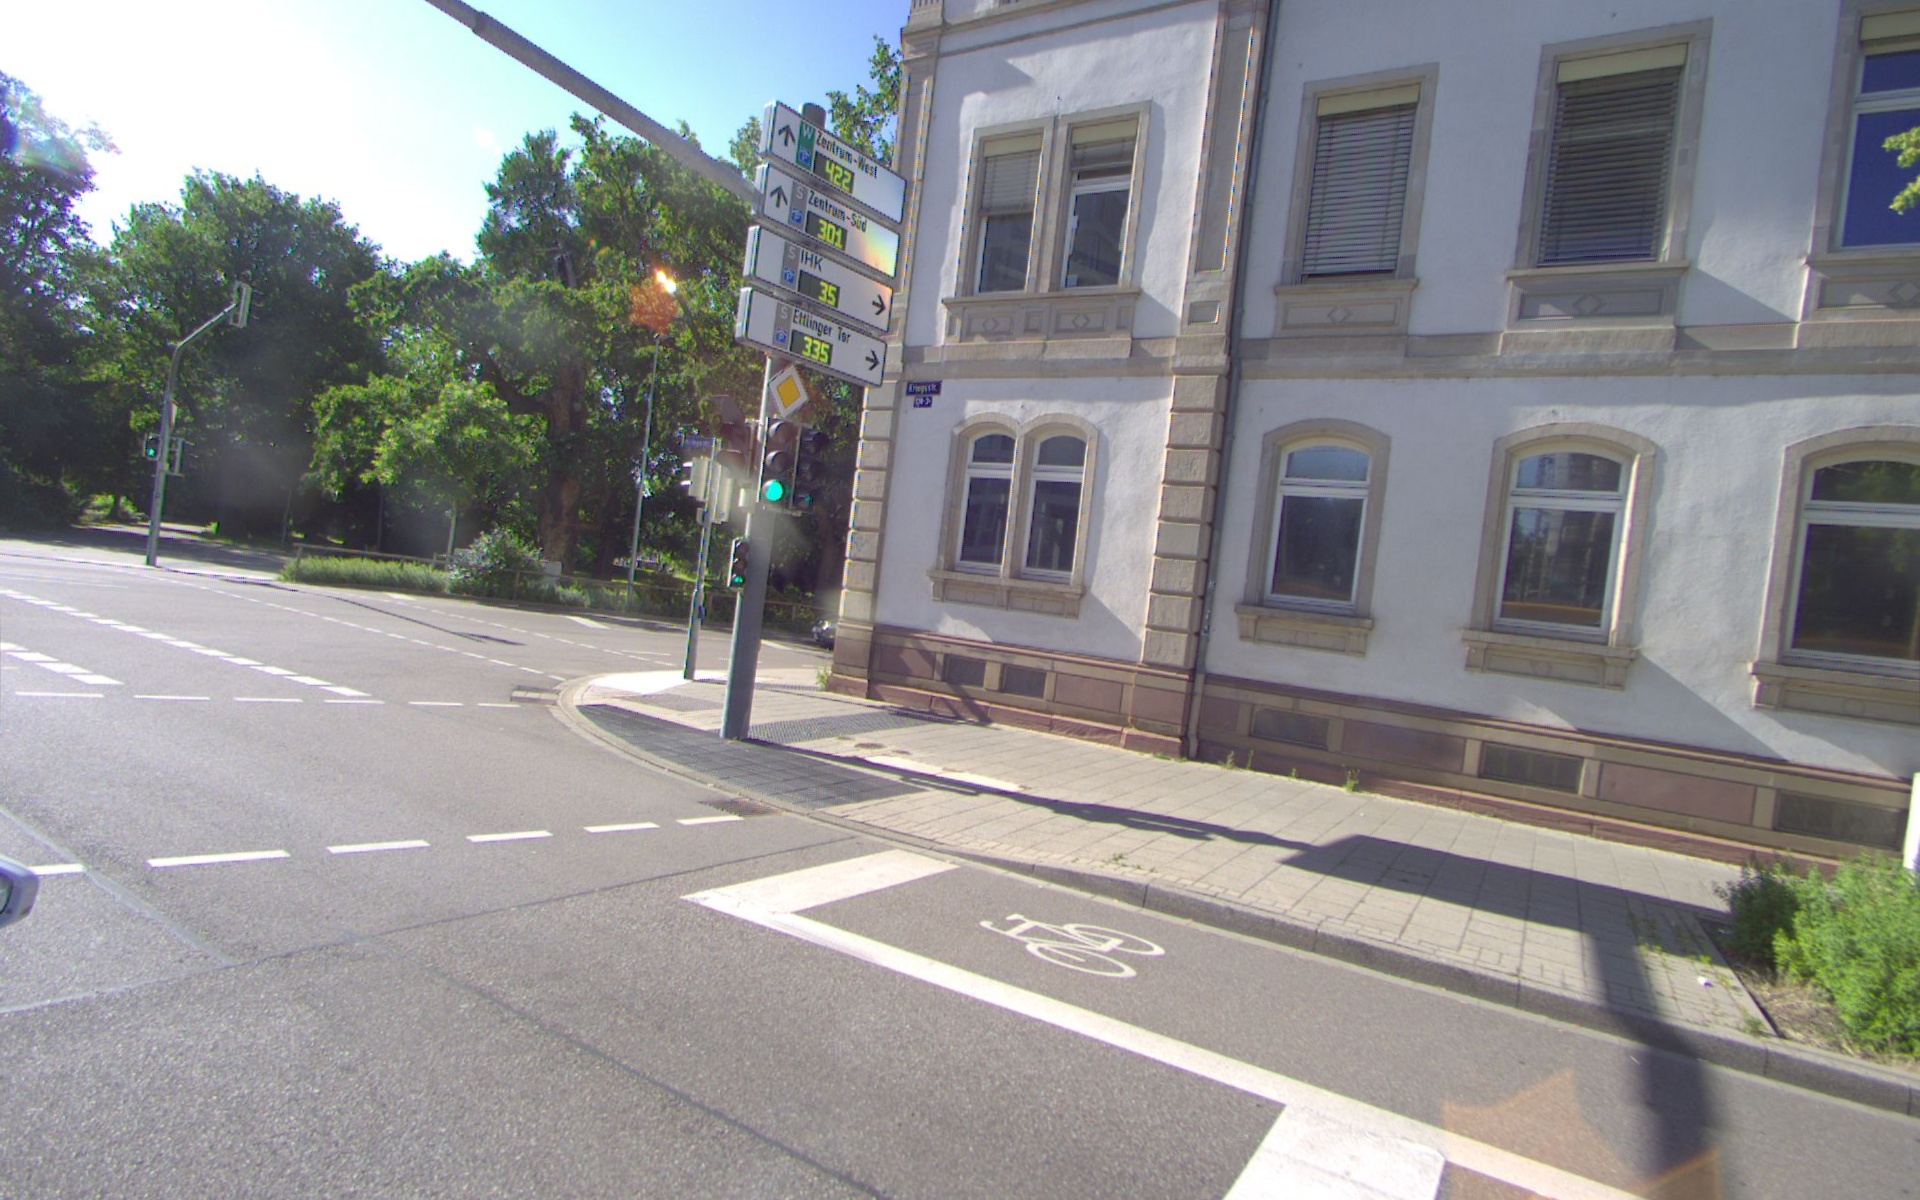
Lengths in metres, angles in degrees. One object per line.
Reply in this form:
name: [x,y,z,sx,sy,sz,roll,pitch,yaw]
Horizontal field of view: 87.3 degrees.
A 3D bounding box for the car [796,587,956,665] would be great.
car: [-2.285,0.733,27.772,3.967,1.500,1.715,9,2,-36]
